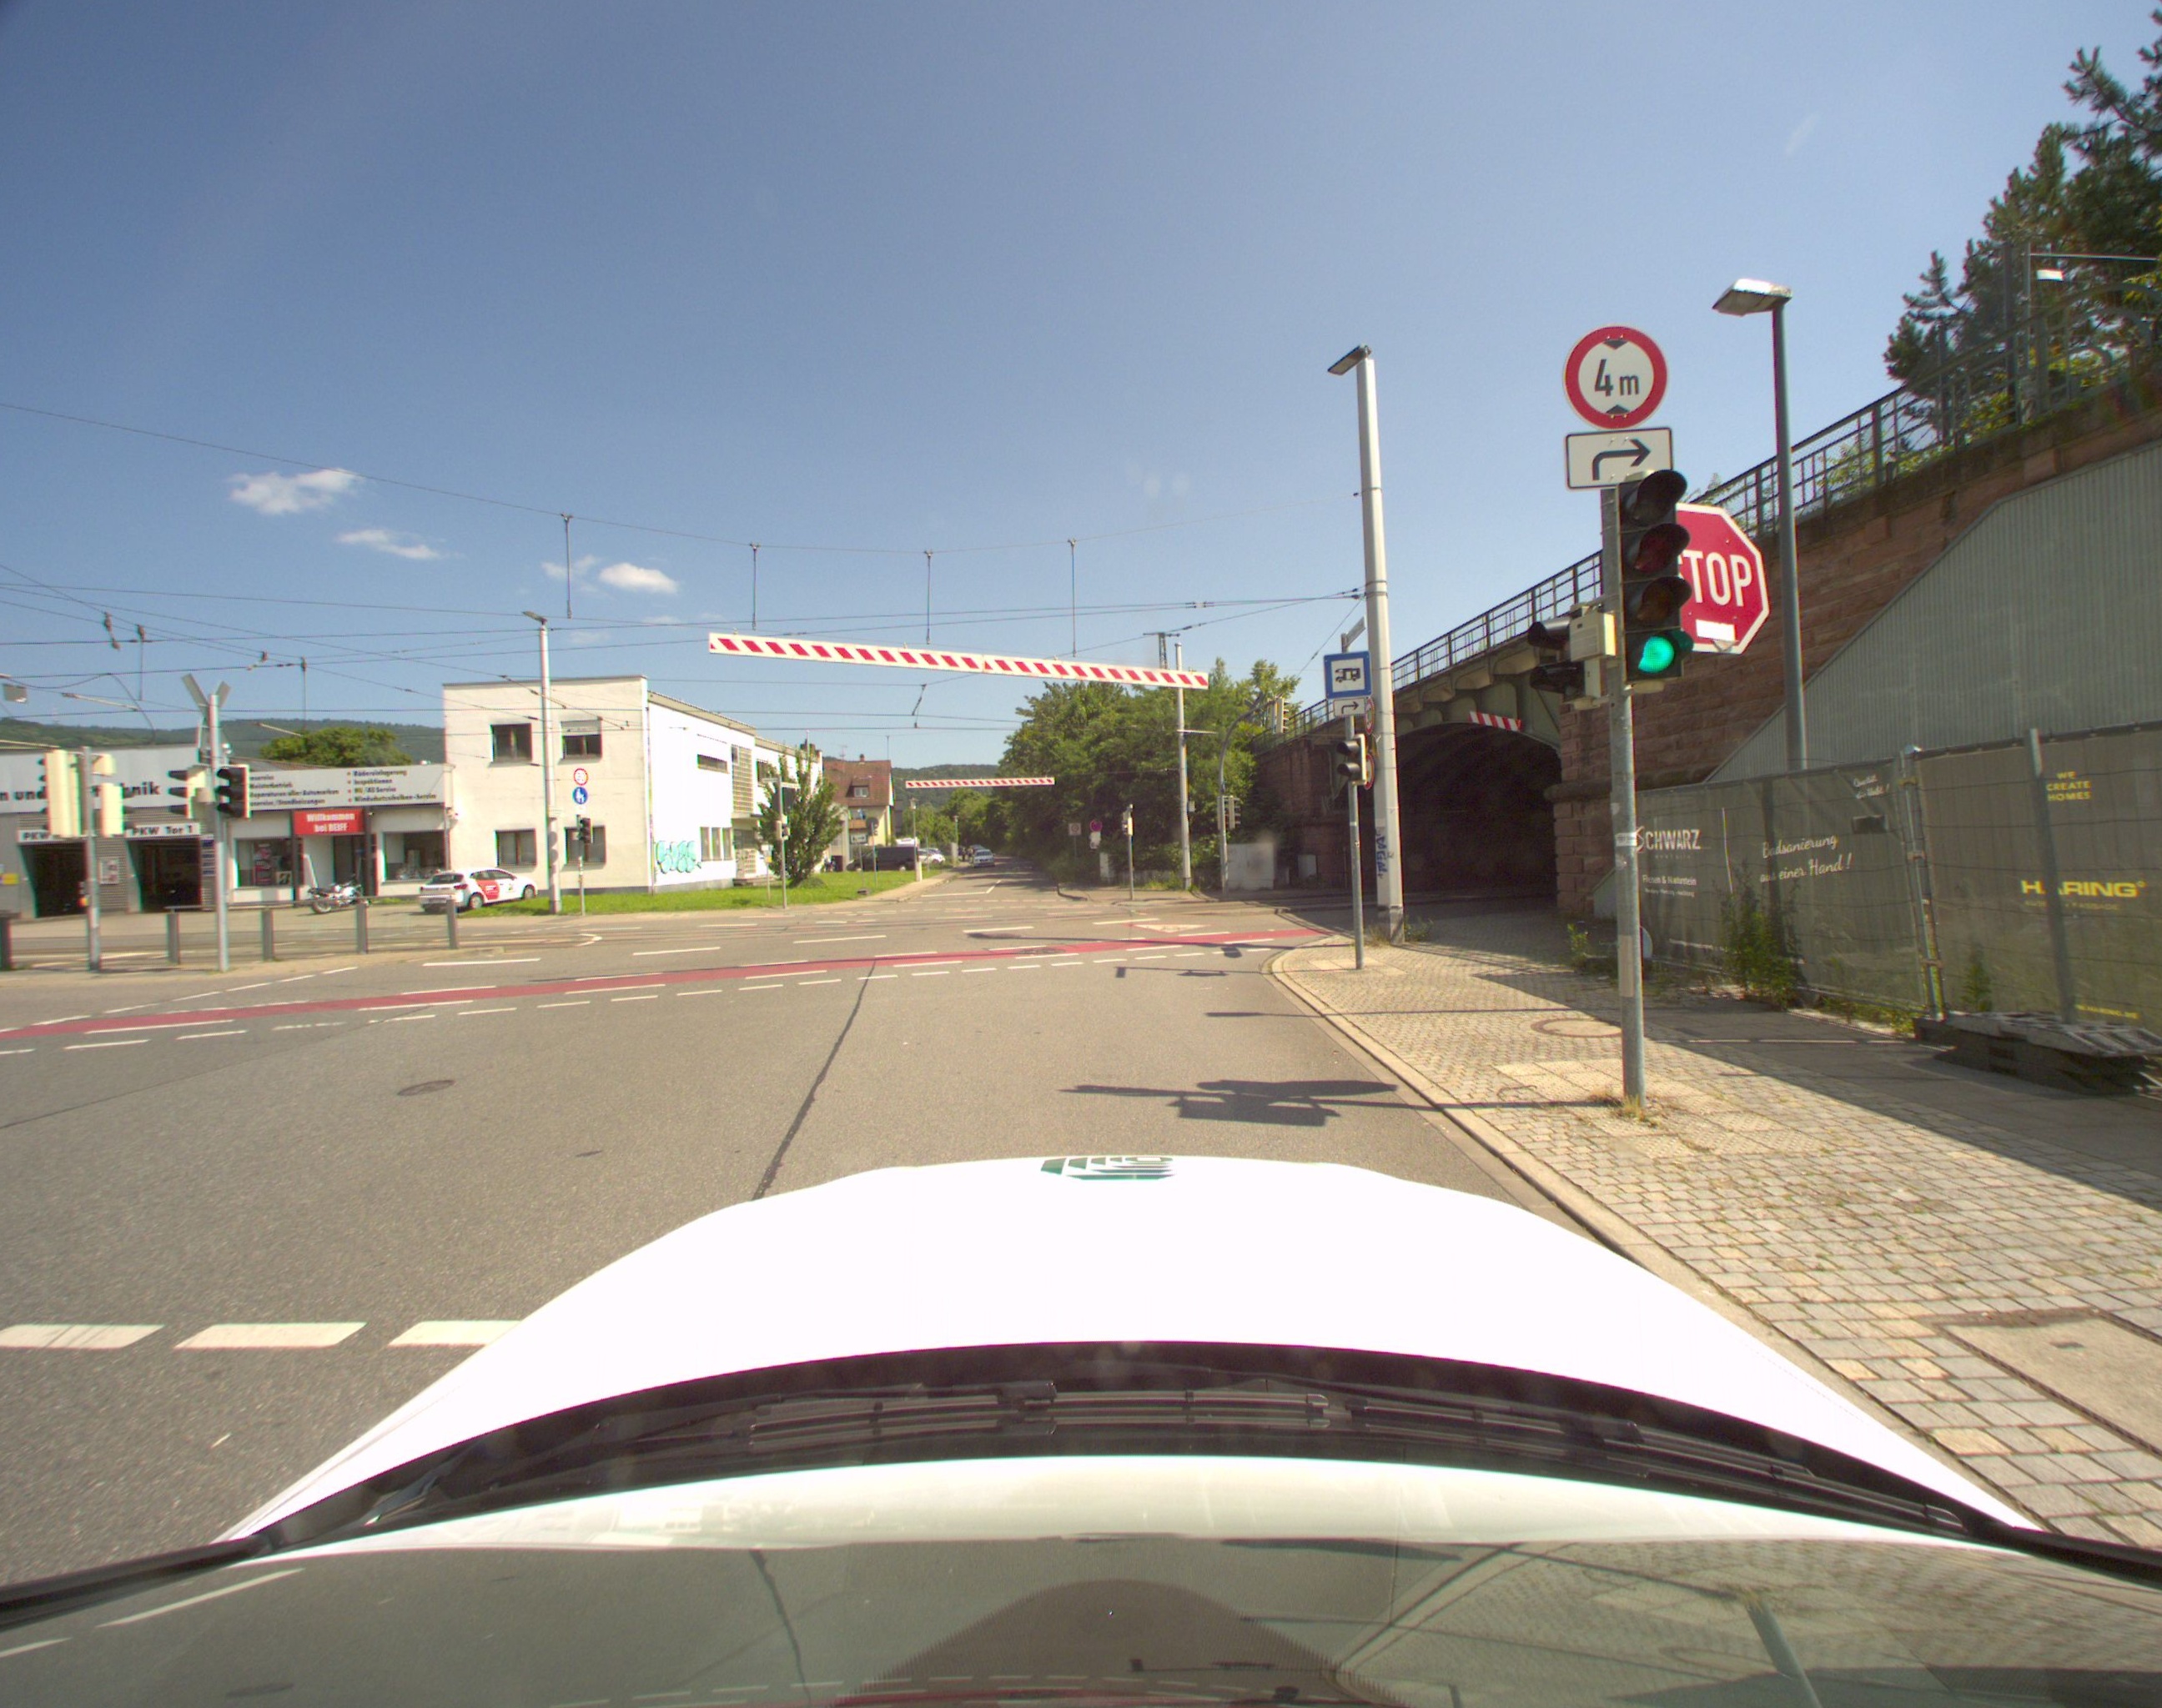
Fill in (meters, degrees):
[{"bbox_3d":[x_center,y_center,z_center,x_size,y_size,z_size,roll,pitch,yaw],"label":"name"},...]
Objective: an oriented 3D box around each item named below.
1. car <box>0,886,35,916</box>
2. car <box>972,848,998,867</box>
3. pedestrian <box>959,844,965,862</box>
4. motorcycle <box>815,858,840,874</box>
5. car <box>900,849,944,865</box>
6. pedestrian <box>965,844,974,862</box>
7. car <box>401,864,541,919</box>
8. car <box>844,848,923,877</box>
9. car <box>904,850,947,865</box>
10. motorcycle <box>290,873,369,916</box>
[{"bbox_3d":[-51.629,2.259,37.613,1.715,1.376,3.771,-2,0,-2],"label":"car"},{"bbox_3d":[-8.258,0.280,70.209,2.083,1.510,4.532,0,0,-5],"label":"car"},{"bbox_3d":[-12.282,-0.101,84.068,0.653,1.763,0.802,0,-1,-6],"label":"pedestrian"},{"bbox_3d":[-16.471,0.786,53.014,0.849,1.032,2.565,0,-1,-2],"label":"motorcycle"},{"bbox_3d":[-14.242,0.295,73.114,3.713,1.372,1.602,0,-1,-4],"label":"car"},{"bbox_3d":[-11.466,-0.106,84.096,0.875,1.763,0.729,0,-1,-6],"label":"pedestrian"},{"bbox_3d":[-21.924,1.286,29.503,1.877,1.462,4.002,-2,4,1],"label":"car"},{"bbox_3d":[-14.199,0.566,58.932,5.242,1.816,1.996,-3,0,-7],"label":"car"},{"bbox_3d":[-14.404,0.338,75.724,3.713,1.371,1.602,0,-1,-4],"label":"car"},{"bbox_3d":[-27.570,1.473,29.943,0.726,1.308,2.191,-3,3,1],"label":"motorcycle"}]
